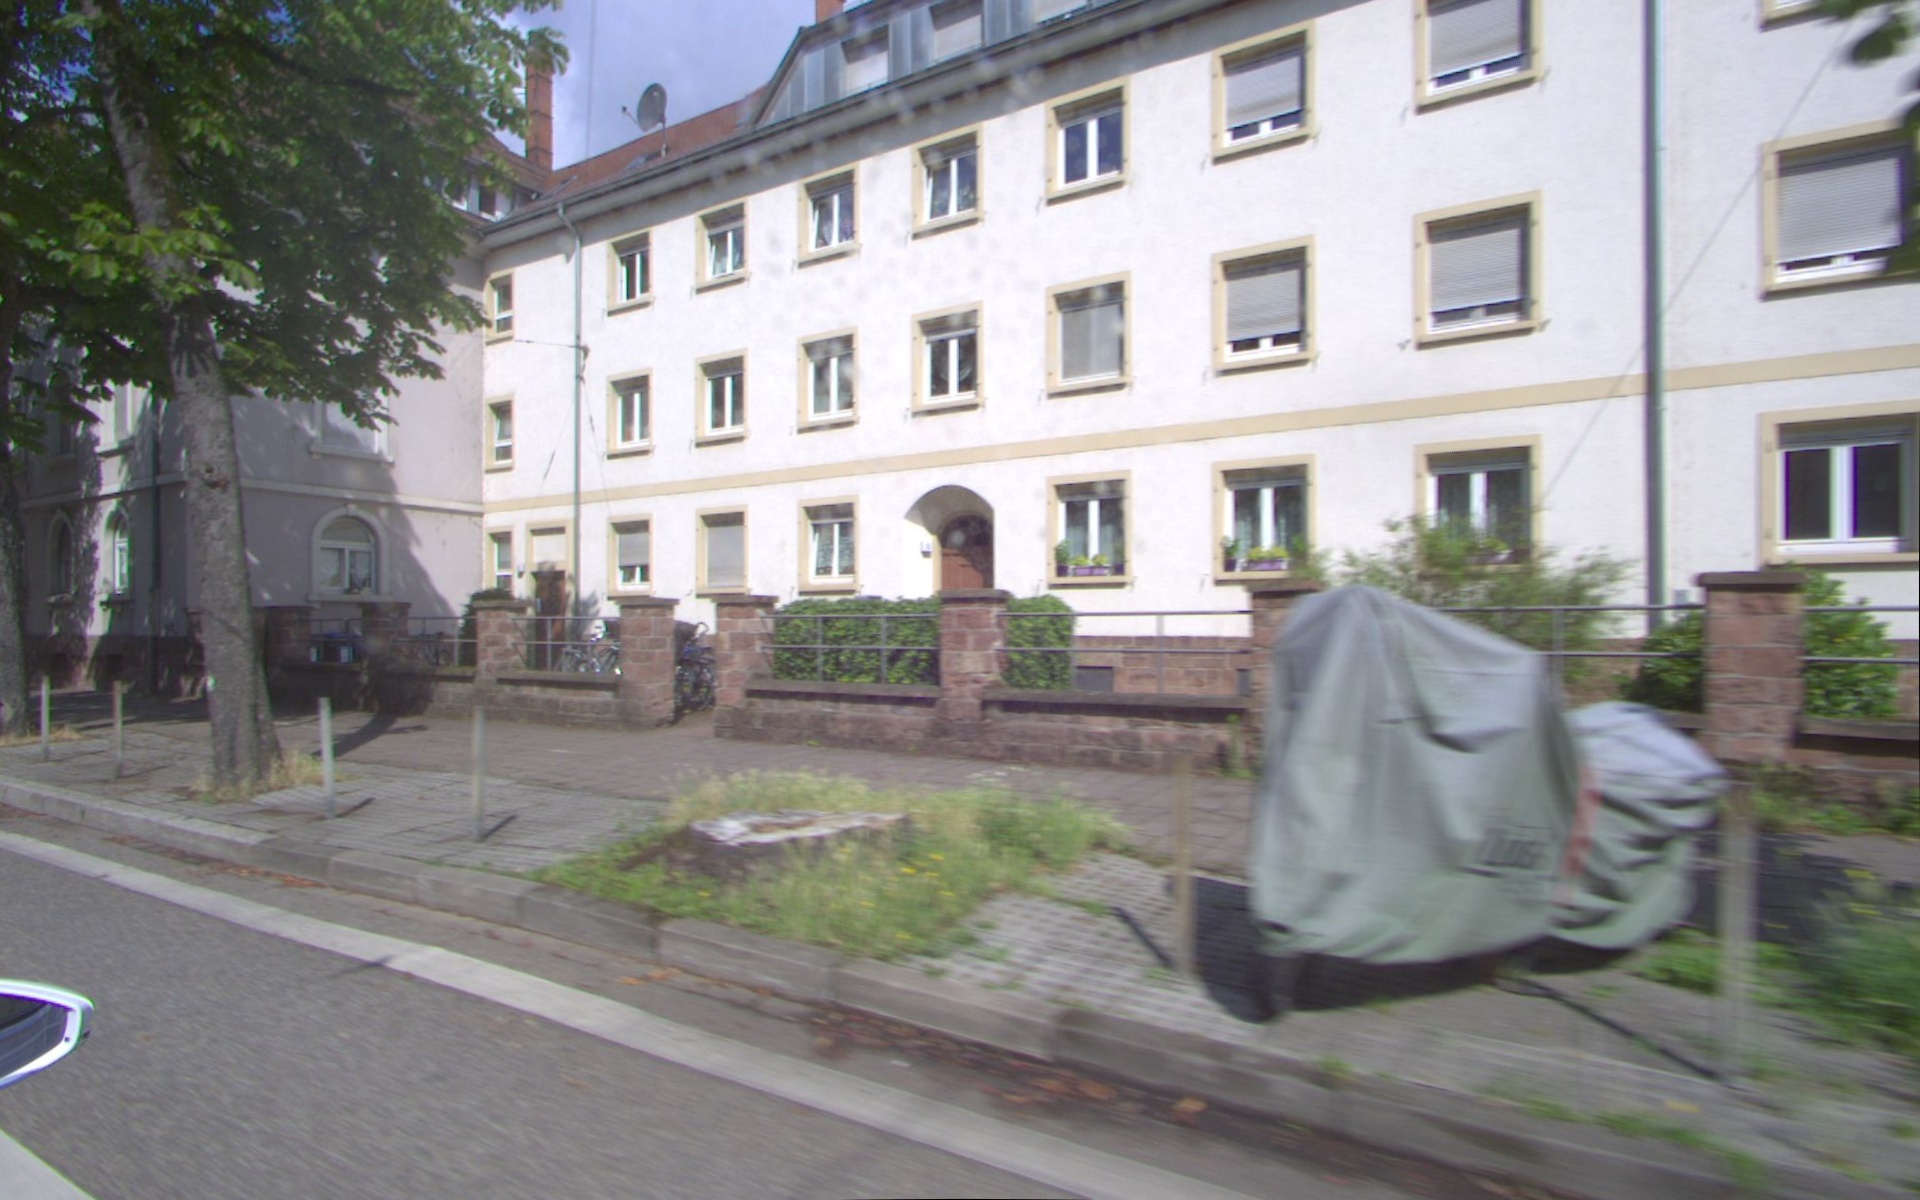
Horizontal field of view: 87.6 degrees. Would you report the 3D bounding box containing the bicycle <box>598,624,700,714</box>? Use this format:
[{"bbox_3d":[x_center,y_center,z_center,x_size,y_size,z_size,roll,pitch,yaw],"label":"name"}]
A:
[{"bbox_3d":[-4.458,0.960,14.314,1.679,1.227,0.411,-1,-1,32],"label":"bicycle"}]

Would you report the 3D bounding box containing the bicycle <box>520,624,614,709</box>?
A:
[{"bbox_3d":[-5.975,0.979,15.189,1.679,1.227,0.411,-1,-1,32],"label":"bicycle"}]

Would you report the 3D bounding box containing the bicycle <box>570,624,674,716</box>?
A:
[{"bbox_3d":[-4.722,0.945,13.947,1.679,1.227,0.411,-1,-1,32],"label":"bicycle"}]

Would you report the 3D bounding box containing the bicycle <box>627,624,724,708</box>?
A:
[{"bbox_3d":[-4.330,0.976,15.184,1.679,1.227,0.411,-1,-1,32],"label":"bicycle"}]

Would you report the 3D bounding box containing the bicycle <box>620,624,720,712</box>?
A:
[{"bbox_3d":[-4.264,0.968,14.682,1.679,1.227,0.411,-1,-1,32],"label":"bicycle"}]

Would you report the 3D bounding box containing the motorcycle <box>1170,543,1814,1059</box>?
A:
[{"bbox_3d":[2.015,0.646,3.795,2.344,1.618,0.678,0,-1,-16],"label":"motorcycle"}]

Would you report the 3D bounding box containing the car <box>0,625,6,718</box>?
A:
[{"bbox_3d":[-17.008,1.146,15.616,4.328,1.428,1.844,-1,0,29],"label":"car"}]

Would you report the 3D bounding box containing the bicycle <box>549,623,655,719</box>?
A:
[{"bbox_3d":[-4.848,0.928,13.529,1.679,1.227,0.411,-1,-1,32],"label":"bicycle"}]
